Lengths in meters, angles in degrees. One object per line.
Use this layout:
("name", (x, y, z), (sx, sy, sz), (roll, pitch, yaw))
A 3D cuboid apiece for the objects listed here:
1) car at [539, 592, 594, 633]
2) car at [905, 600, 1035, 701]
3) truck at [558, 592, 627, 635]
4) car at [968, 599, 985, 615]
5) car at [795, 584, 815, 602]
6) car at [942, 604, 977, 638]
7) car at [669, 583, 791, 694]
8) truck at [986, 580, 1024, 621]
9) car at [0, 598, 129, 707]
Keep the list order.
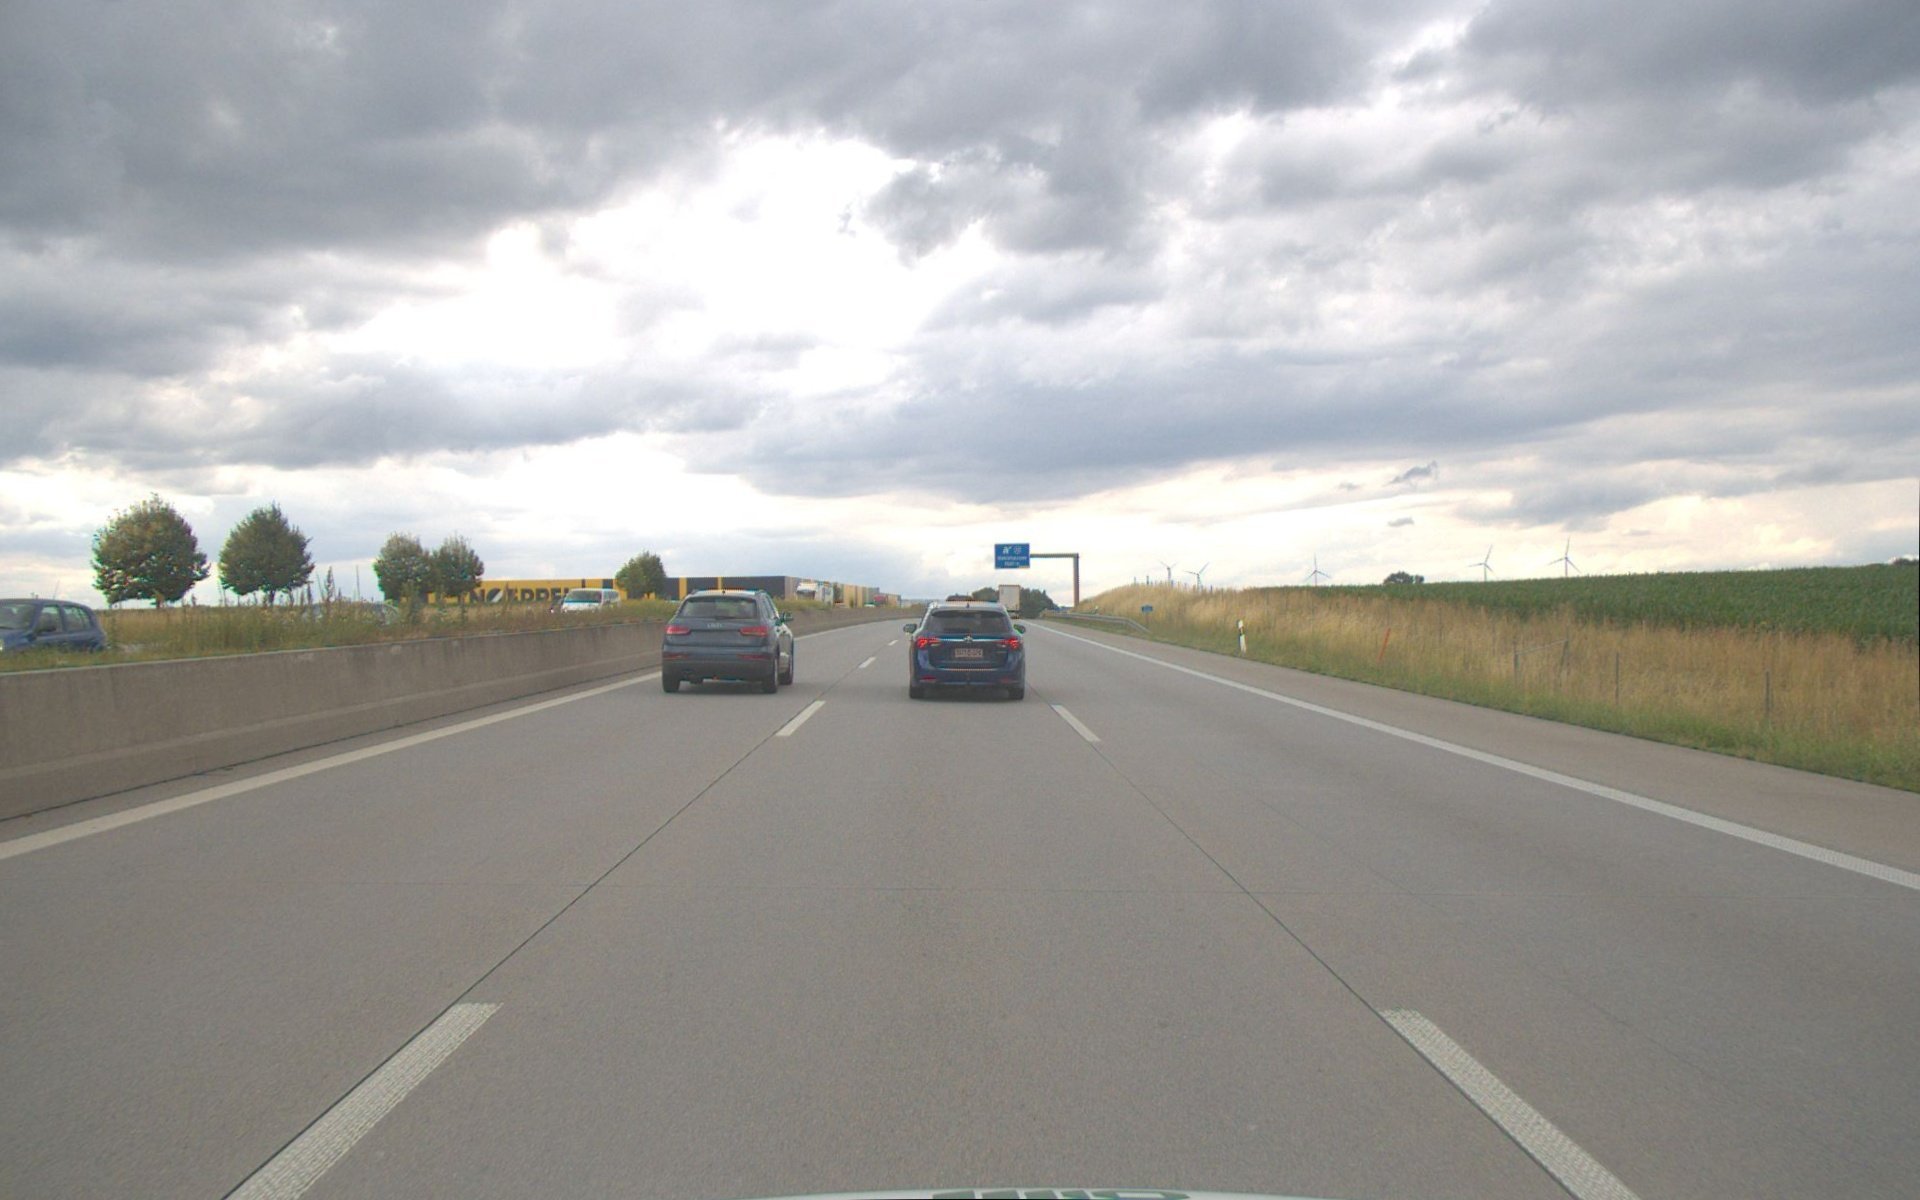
("car", (-20.673, 0.666, 87.037), (1.953, 2.049, 3.999), (1, -1, 0))
("car", (0.086, 0.737, 25.897), (1.739, 1.438, 3.997), (1, 0, -4))
("truck", (-16.352, 0.612, 73.835), (1.907, 1.837, 5.126), (1, -1, 0))
("car", (2.143, 0.914, 218.720), (1.954, 2.049, 3.997), (1, -1, -4))
("car", (-18.412, -0.857, 196.800), (1.953, 2.049, 3.999), (1, -1, 0))
("car", (-0.051, 1.283, 101.942), (1.954, 2.049, 3.997), (1, -1, -3))
("car", (-3.708, 0.572, 27.371), (1.758, 1.624, 5.151), (1, 0, -6))
("truck", (5.461, 0.085, 203.232), (3.870, 4.839, 12.071), (1, -1, -2))
("car", (-15.408, 0.795, 26.649), (1.953, 1.640, 4.114), (1, -1, -1))
